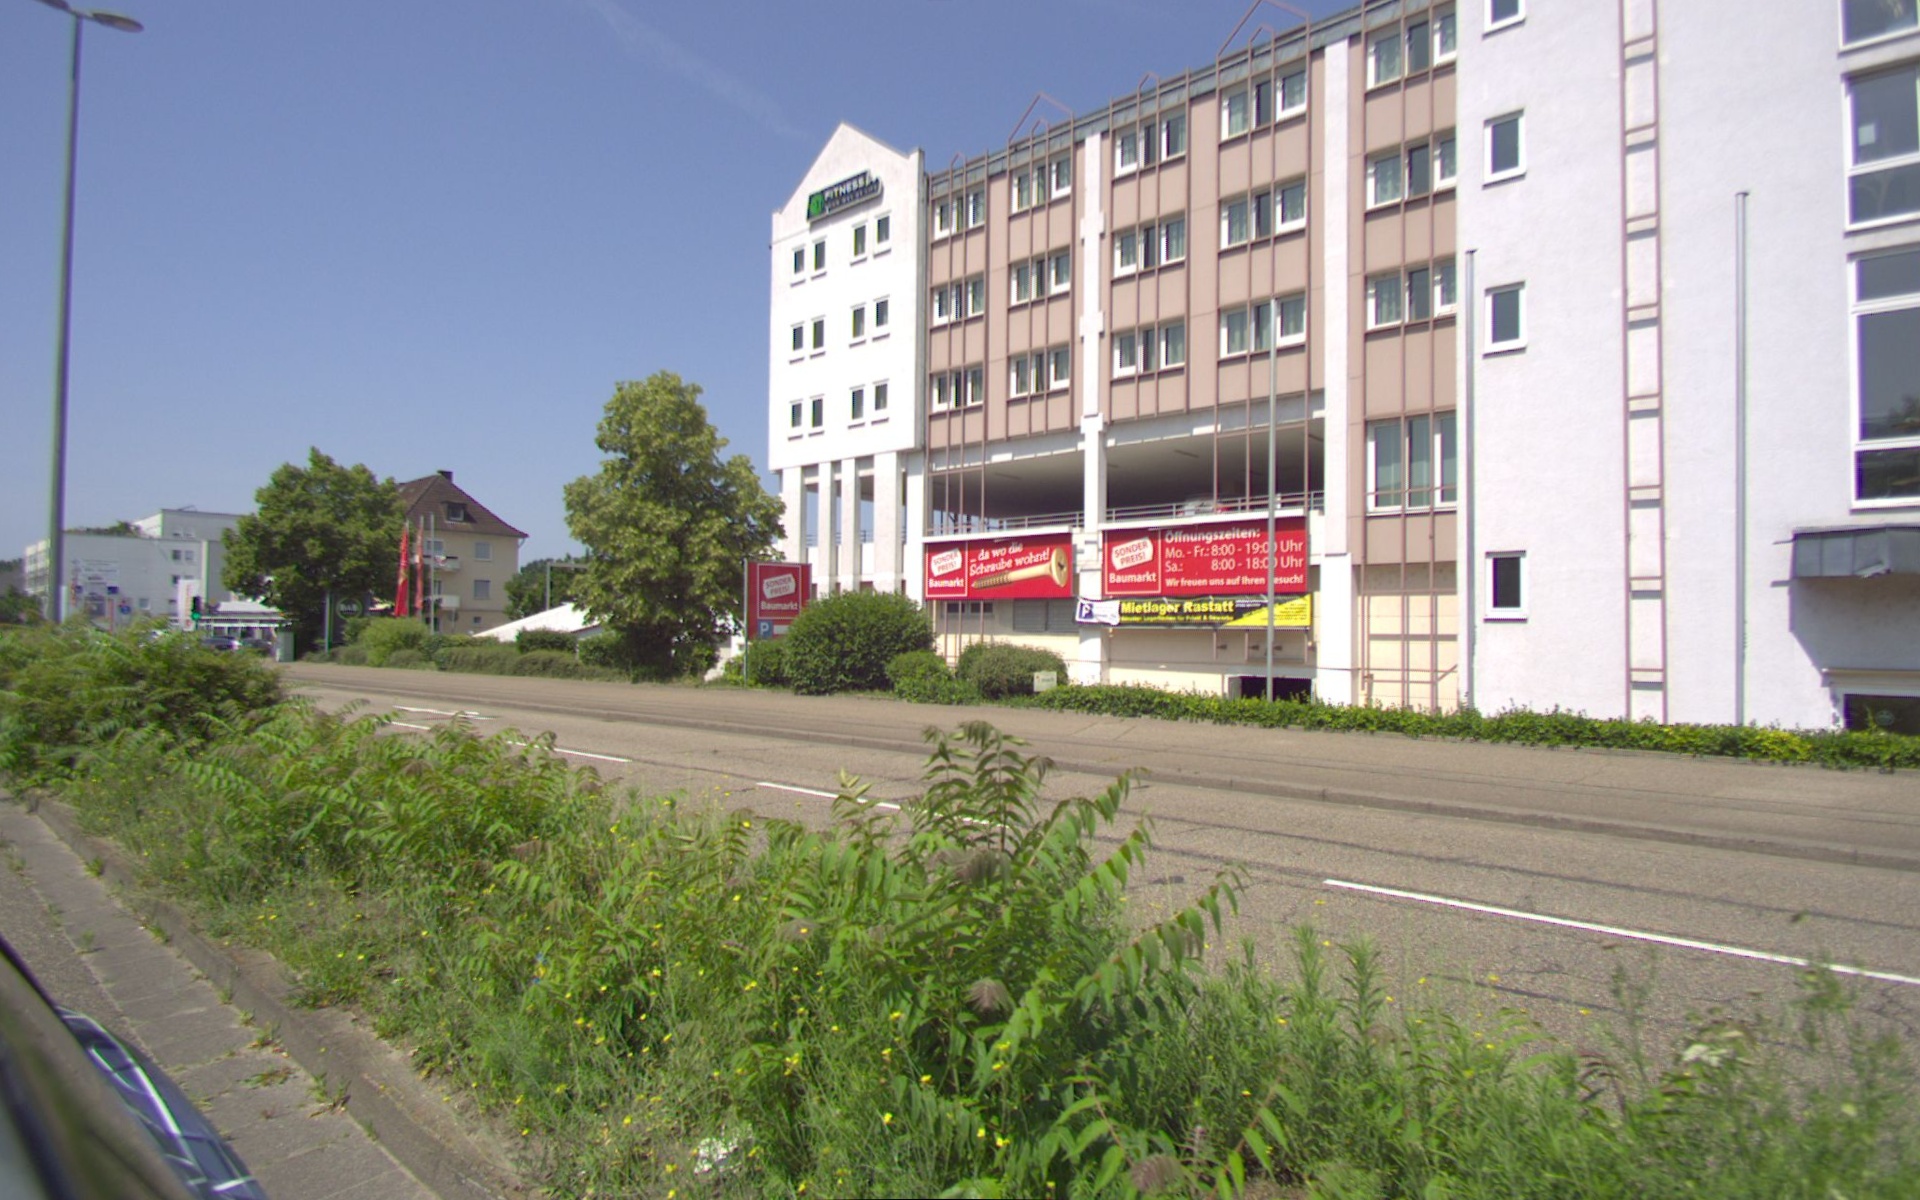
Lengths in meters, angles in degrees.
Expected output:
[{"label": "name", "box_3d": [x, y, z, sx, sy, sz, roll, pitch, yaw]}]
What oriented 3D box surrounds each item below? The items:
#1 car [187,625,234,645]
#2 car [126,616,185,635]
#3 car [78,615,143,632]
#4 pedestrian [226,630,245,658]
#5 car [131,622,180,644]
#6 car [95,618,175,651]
[{"label": "car", "box_3d": [-52.776, 2.450, 71.256, 3.996, 1.362, 1.715, -1, -3, 39]}, {"label": "car", "box_3d": [-73.645, 2.356, 92.638, 1.926, 1.621, 3.942, -2, -3, 44]}, {"label": "car", "box_3d": [-72.864, 2.023, 86.828, 1.859, 1.405, 3.946, -1, -3, 40]}, {"label": "pedestrian", "box_3d": [-45.940, 2.789, 64.179, 1.034, 1.760, 0.732, -2, -3, 44]}, {"label": "car", "box_3d": [-55.473, 2.278, 69.728, 4.756, 1.421, 1.757, -2, -4, 41]}, {"label": "car", "box_3d": [-64.555, 2.692, 79.229, 4.498, 1.720, 1.761, -13, 9, -43]}]
